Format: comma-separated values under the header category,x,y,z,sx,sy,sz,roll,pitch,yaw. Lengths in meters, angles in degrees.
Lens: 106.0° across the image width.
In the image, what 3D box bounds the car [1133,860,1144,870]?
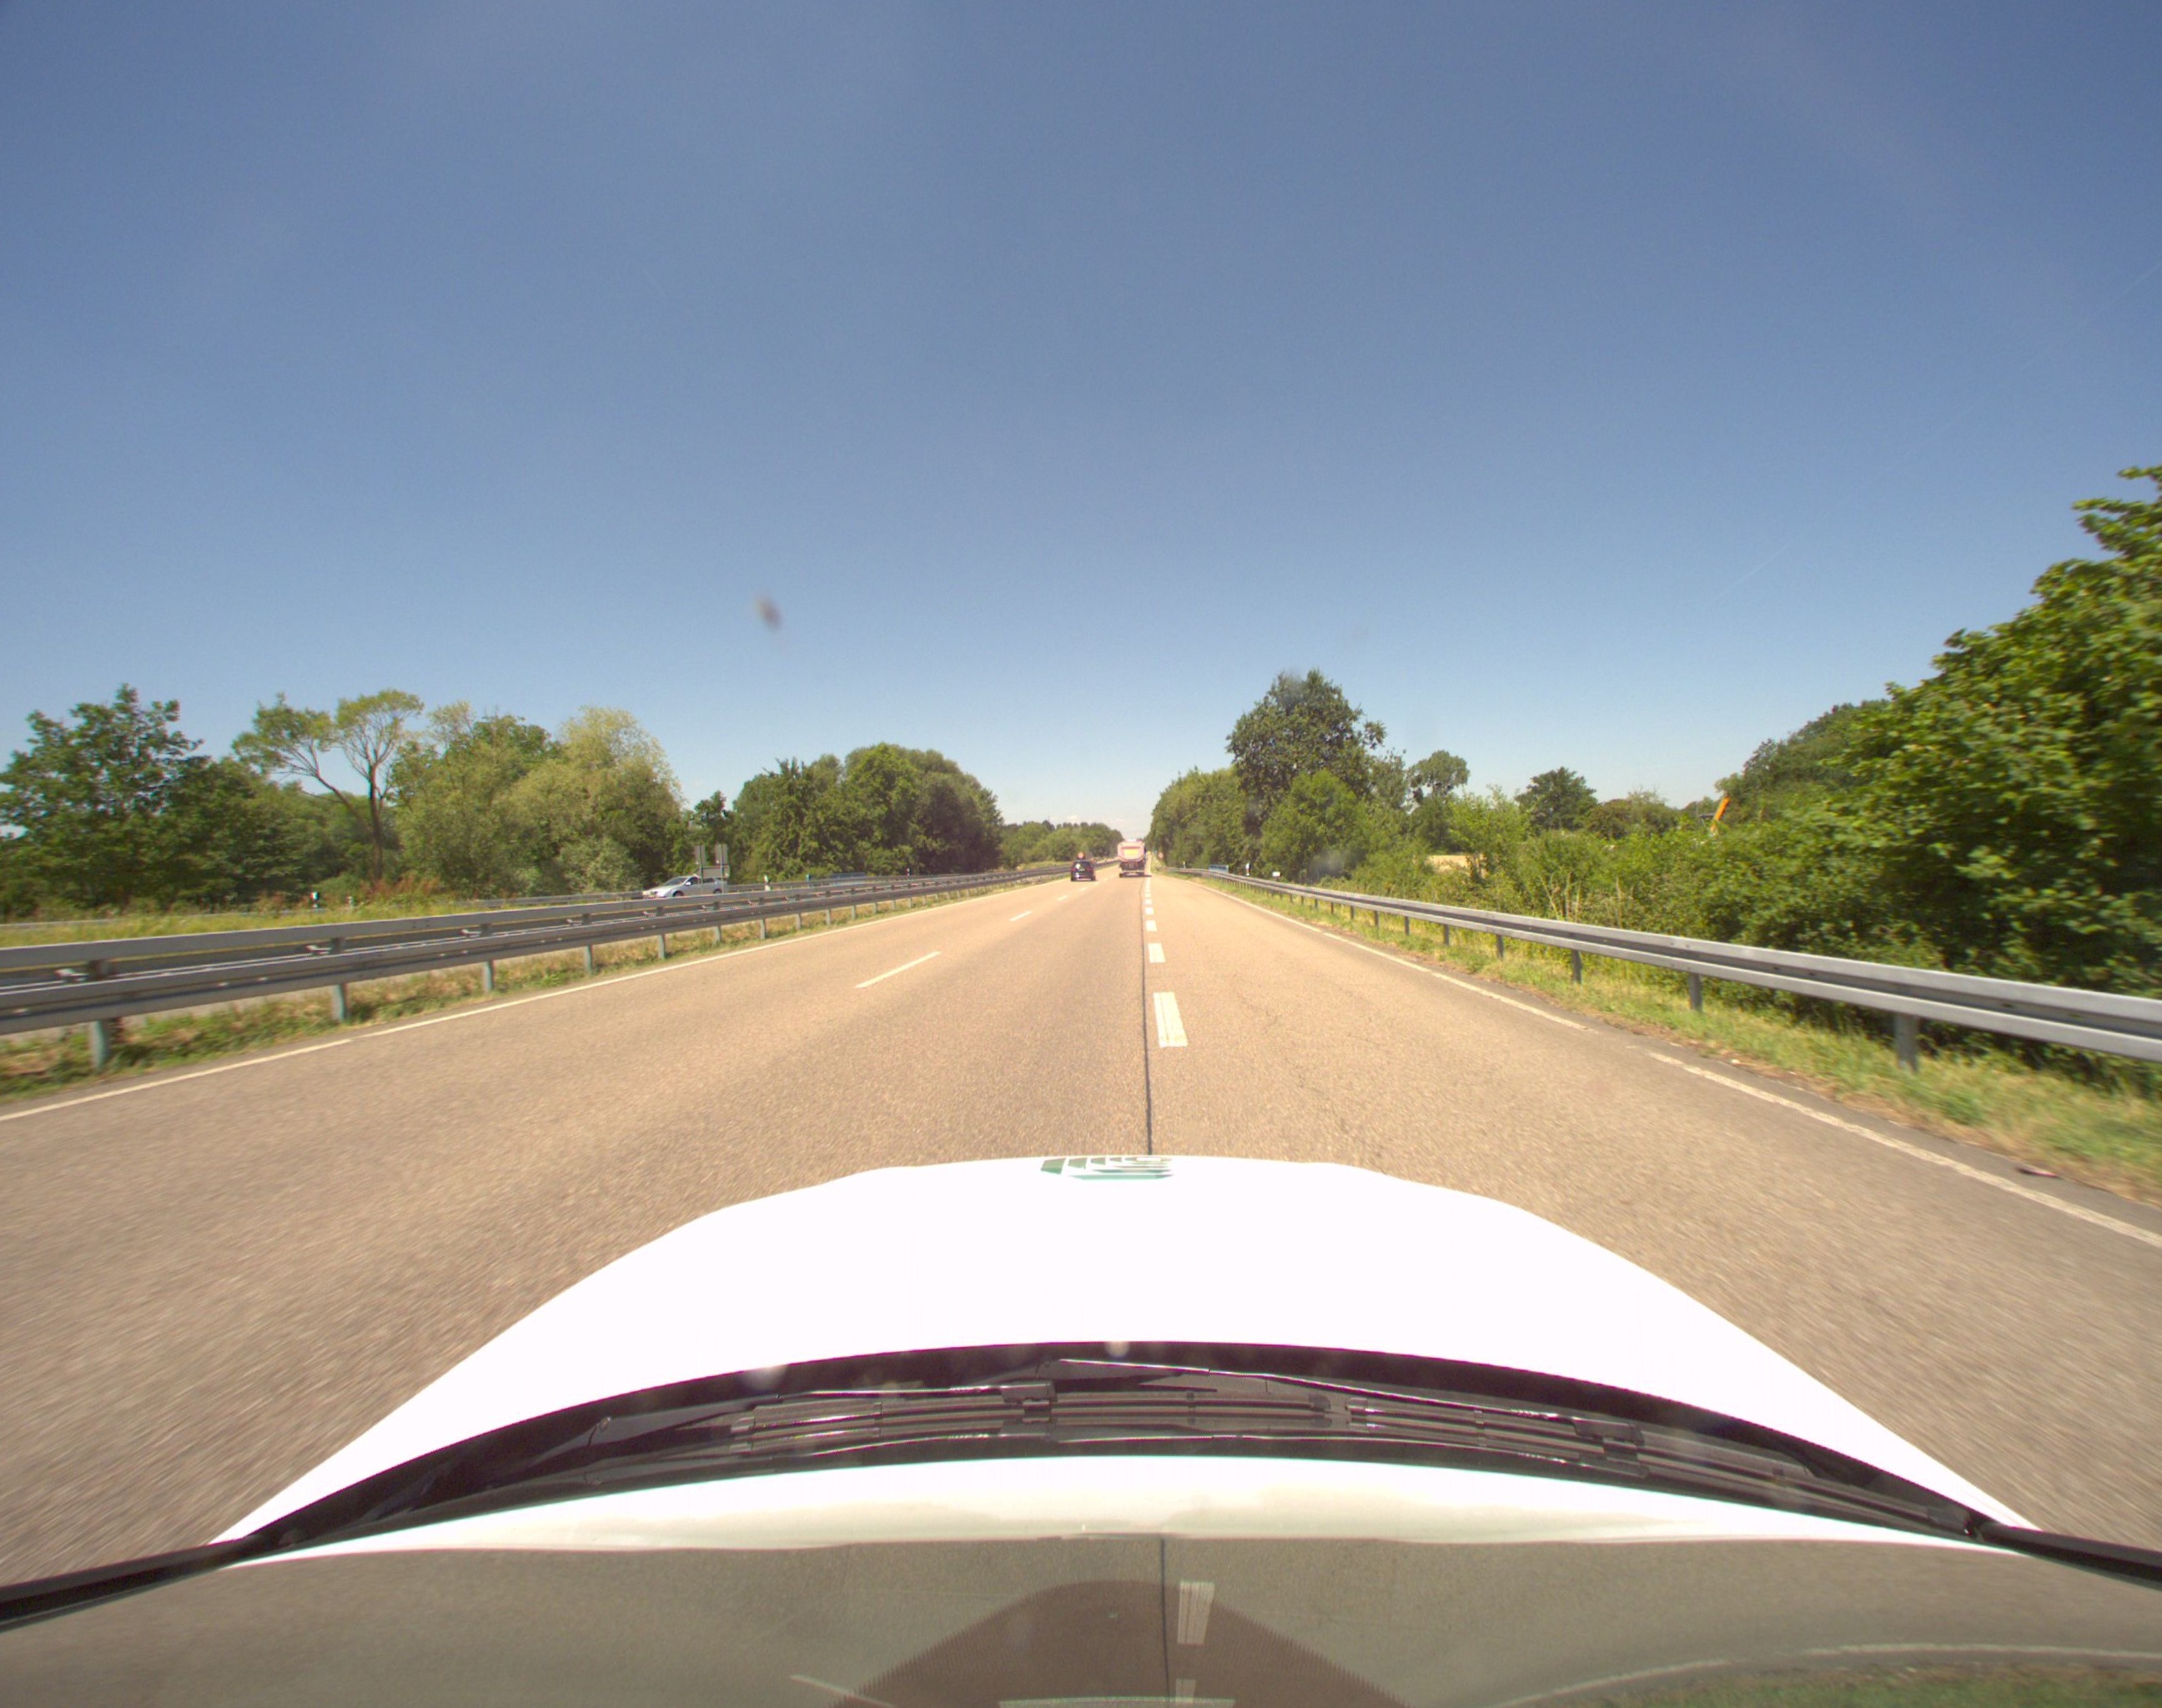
category,x,y,z,sx,sy,sz,roll,pitch,yaw
car,9.901,1.956,140.984,1.849,1.671,4.004,-1,-2,4

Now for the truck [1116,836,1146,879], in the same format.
category,x,y,z,sx,sy,sz,roll,pitch,yaw
truck,5.189,0.318,82.762,2.708,3.930,12.384,-1,0,4

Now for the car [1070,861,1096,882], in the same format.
category,x,y,z,sx,sy,sz,roll,pitch,yaw
car,0.193,1.498,68.413,1.849,1.671,4.004,-1,-2,4

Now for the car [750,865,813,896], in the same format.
category,x,y,z,sx,sy,sz,roll,pitch,yaw
car,-15.673,1.389,42.857,1.913,1.489,3.997,-1,-2,-1

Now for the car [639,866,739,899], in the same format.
category,x,y,z,sx,sy,sz,roll,pitch,yaw
car,-20.793,1.470,43.436,1.709,1.645,4.968,-1,-1,21
